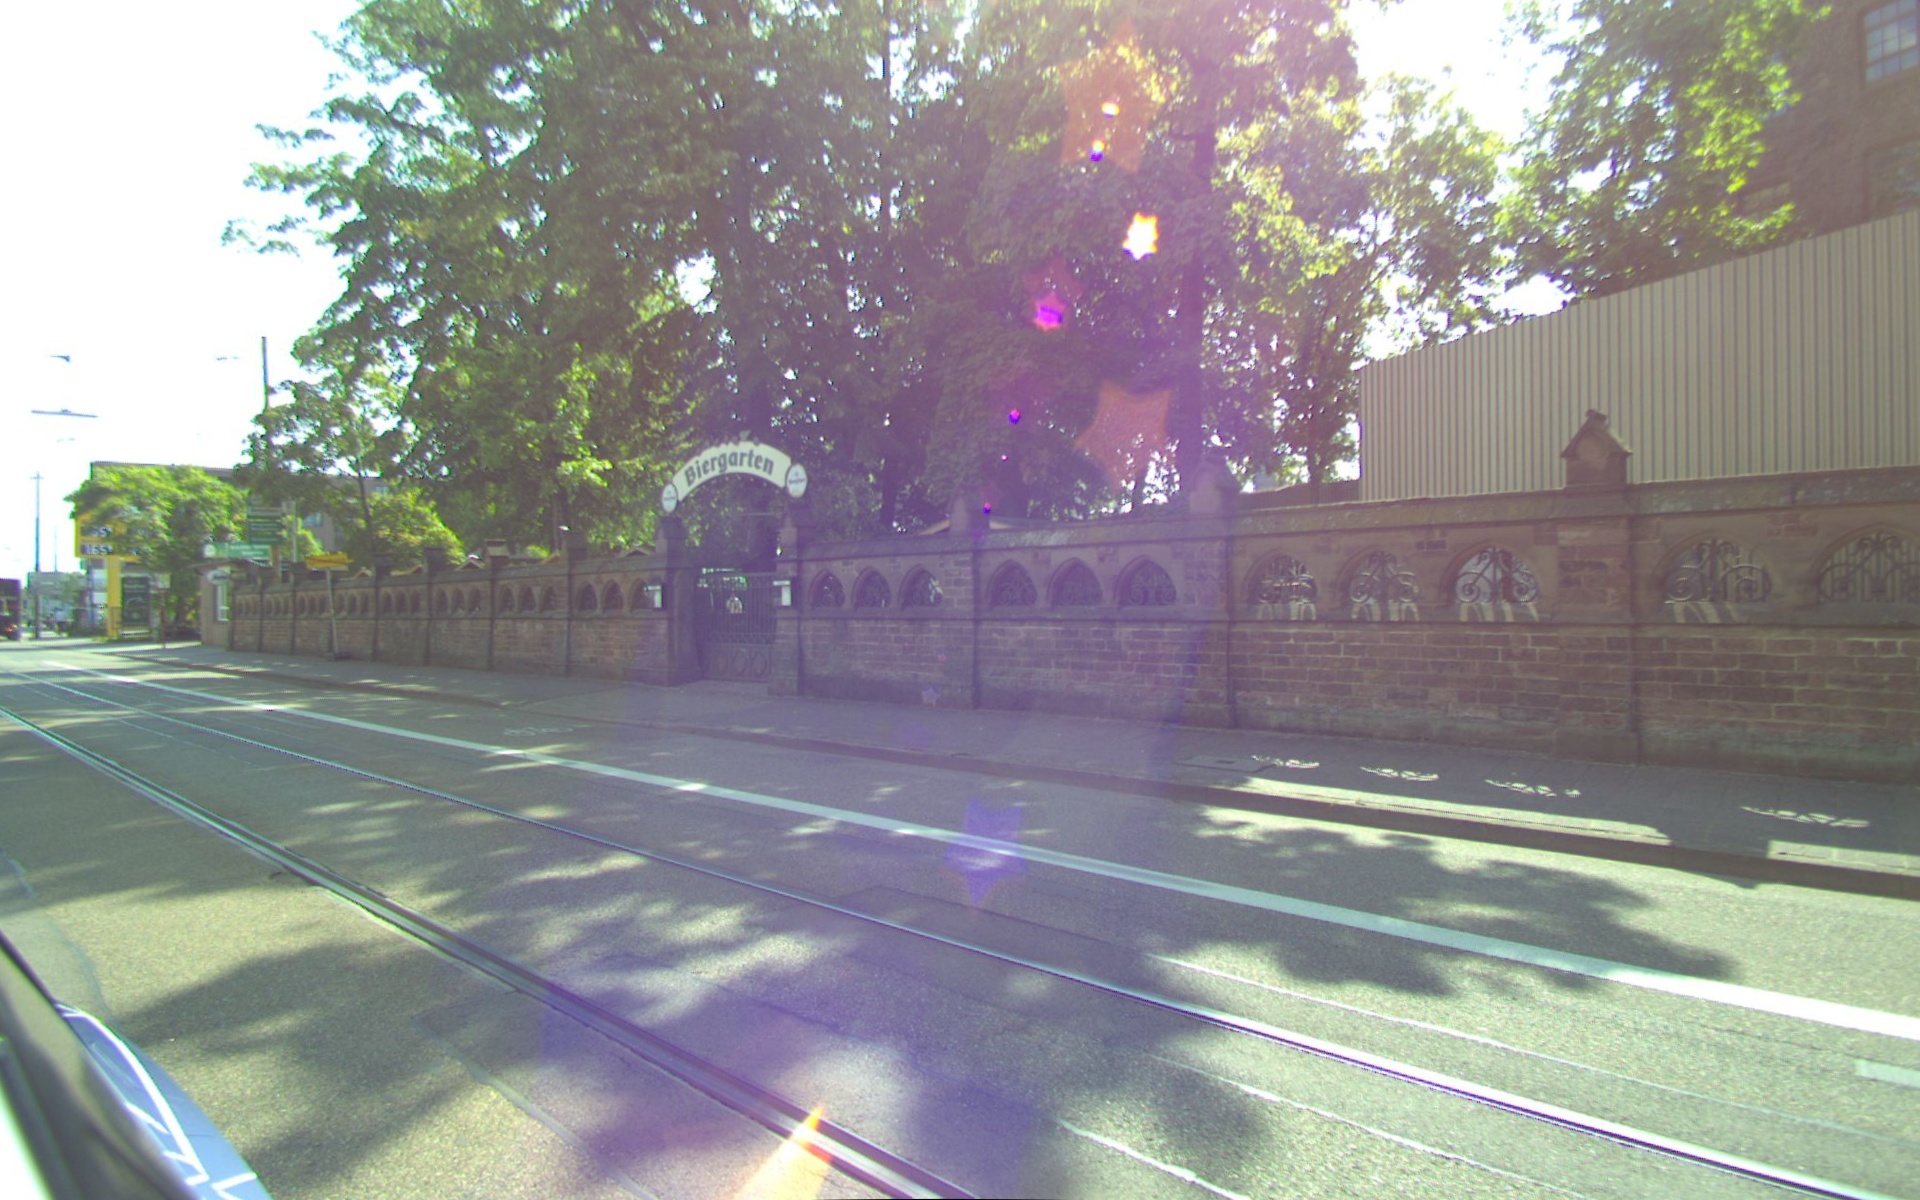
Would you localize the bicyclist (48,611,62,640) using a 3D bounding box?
[{"bbox_3d":[-60.731,1.689,67.940,0.633,1.944,1.178,-1,0,-39],"label":"bicyclist"}]

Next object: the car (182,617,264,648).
[{"bbox_3d":[-37.875,1.636,52.110,1.905,1.472,4.540,-1,0,-15],"label":"car"}]

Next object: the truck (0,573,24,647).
[{"bbox_3d":[-64.154,0.715,66.980,3.127,4.487,16.858,-1,0,-42],"label":"truck"}]

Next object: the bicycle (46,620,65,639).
[{"bbox_3d":[-60.871,1.979,68.107,0.775,1.249,2.038,-1,-1,-38],"label":"bicycle"}]
